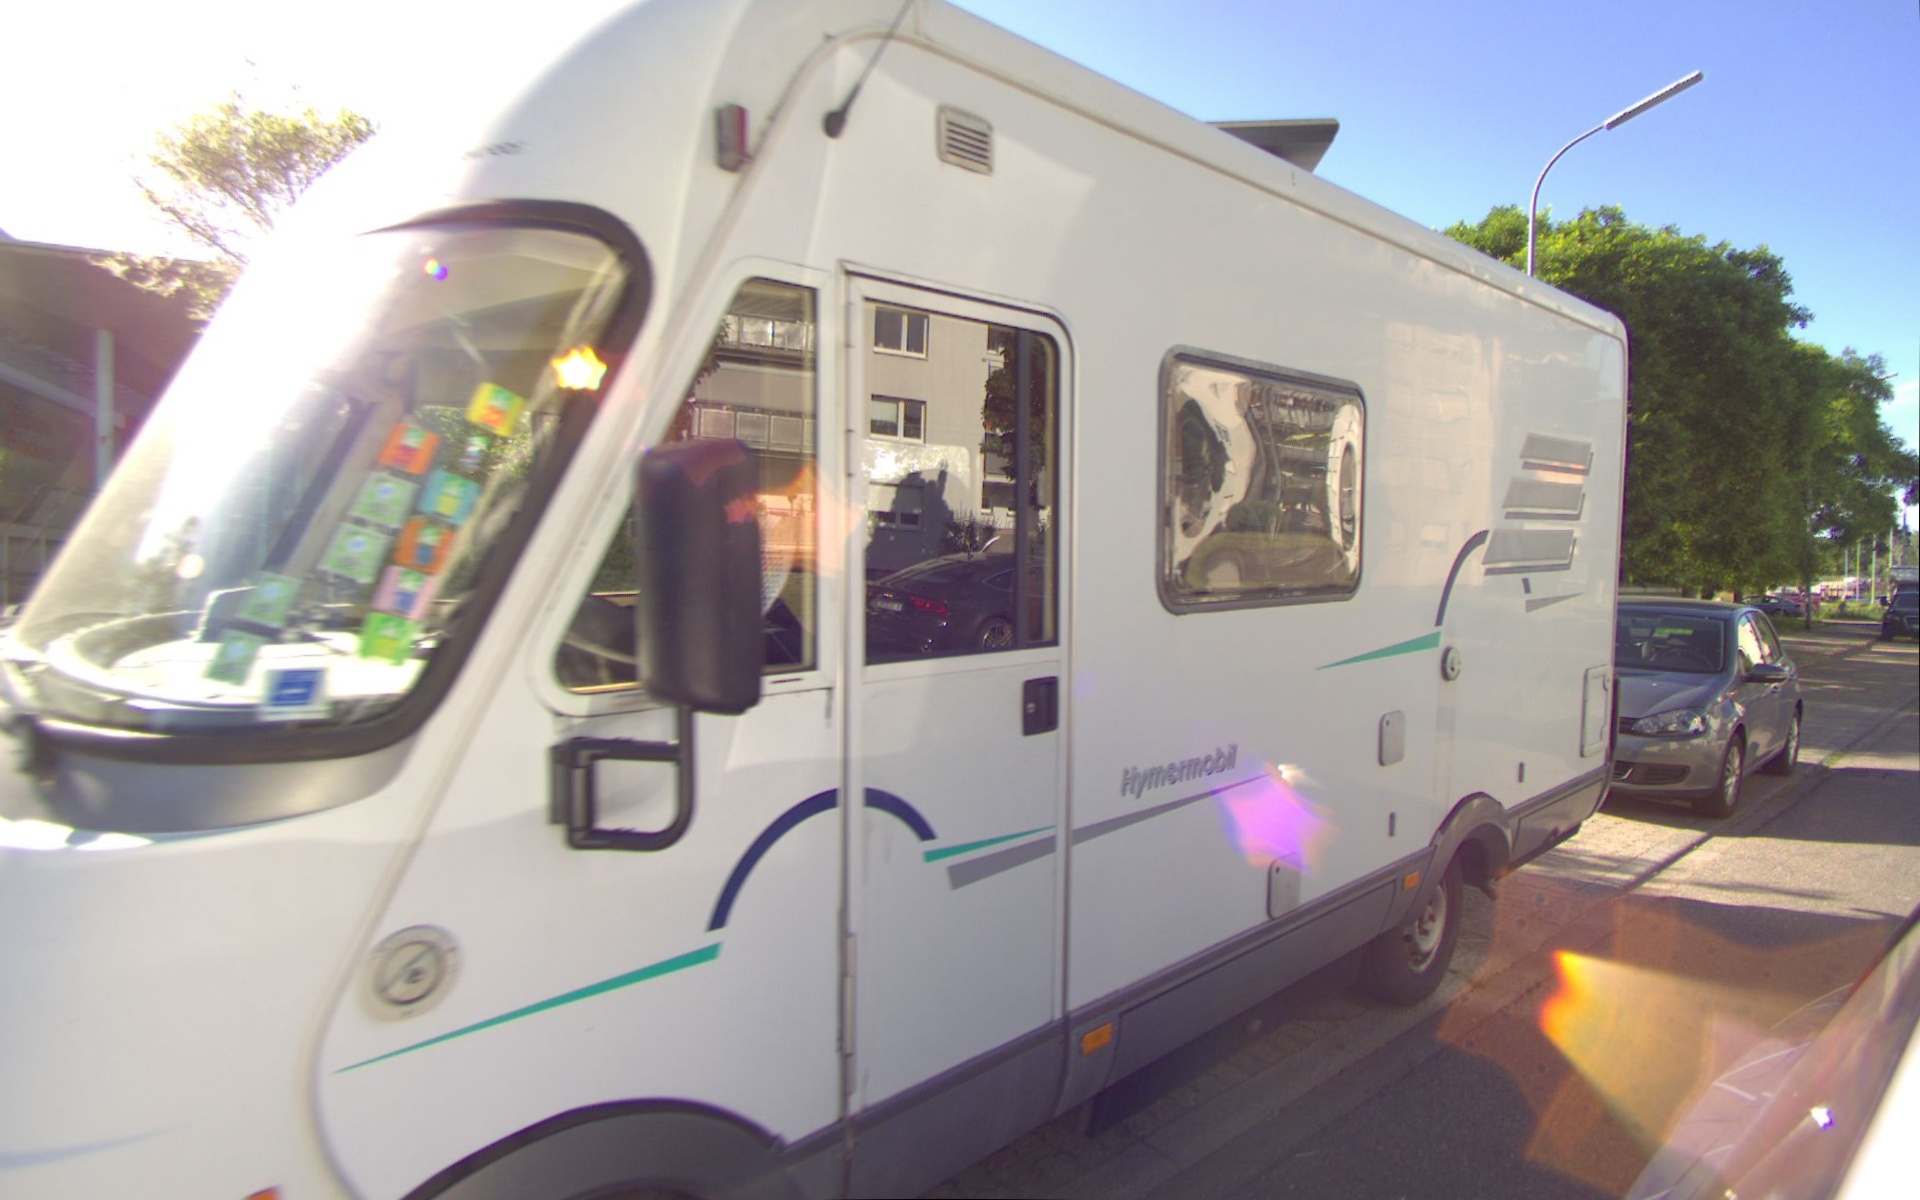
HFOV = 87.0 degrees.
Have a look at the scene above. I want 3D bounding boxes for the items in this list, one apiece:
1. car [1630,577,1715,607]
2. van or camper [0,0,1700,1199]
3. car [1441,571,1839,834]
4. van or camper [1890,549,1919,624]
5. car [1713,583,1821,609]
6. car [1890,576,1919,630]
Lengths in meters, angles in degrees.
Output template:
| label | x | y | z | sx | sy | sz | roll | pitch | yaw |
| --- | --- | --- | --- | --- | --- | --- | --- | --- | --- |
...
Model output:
| label | x | y | z | sx | sy | sz | roll | pitch | yaw |
| --- | --- | --- | --- | --- | --- | --- | --- | --- | --- |
| car | 41.435 | -0.489 | 58.933 | 1.795 | 1.597 | 3.694 | 0 | 2 | -38 |
| van or camper | 0.466 | -0.170 | 3.911 | 6.734 | 2.880 | 2.500 | -1 | 2 | -42 |
| car | 5.812 | 0.606 | 8.412 | 4.354 | 1.542 | 1.723 | -1 | 5 | -43 |
| van or camper | 36.428 | -0.453 | 37.585 | 6.321 | 2.627 | 2.354 | -1 | 5 | -45 |
| car | 44.224 | -0.226 | 55.515 | 1.715 | 1.354 | 4.432 | 1 | 0 | -41 |
| car | 31.674 | 0.110 | 32.890 | 1.994 | 1.660 | 4.466 | 4 | 4 | 43 |
